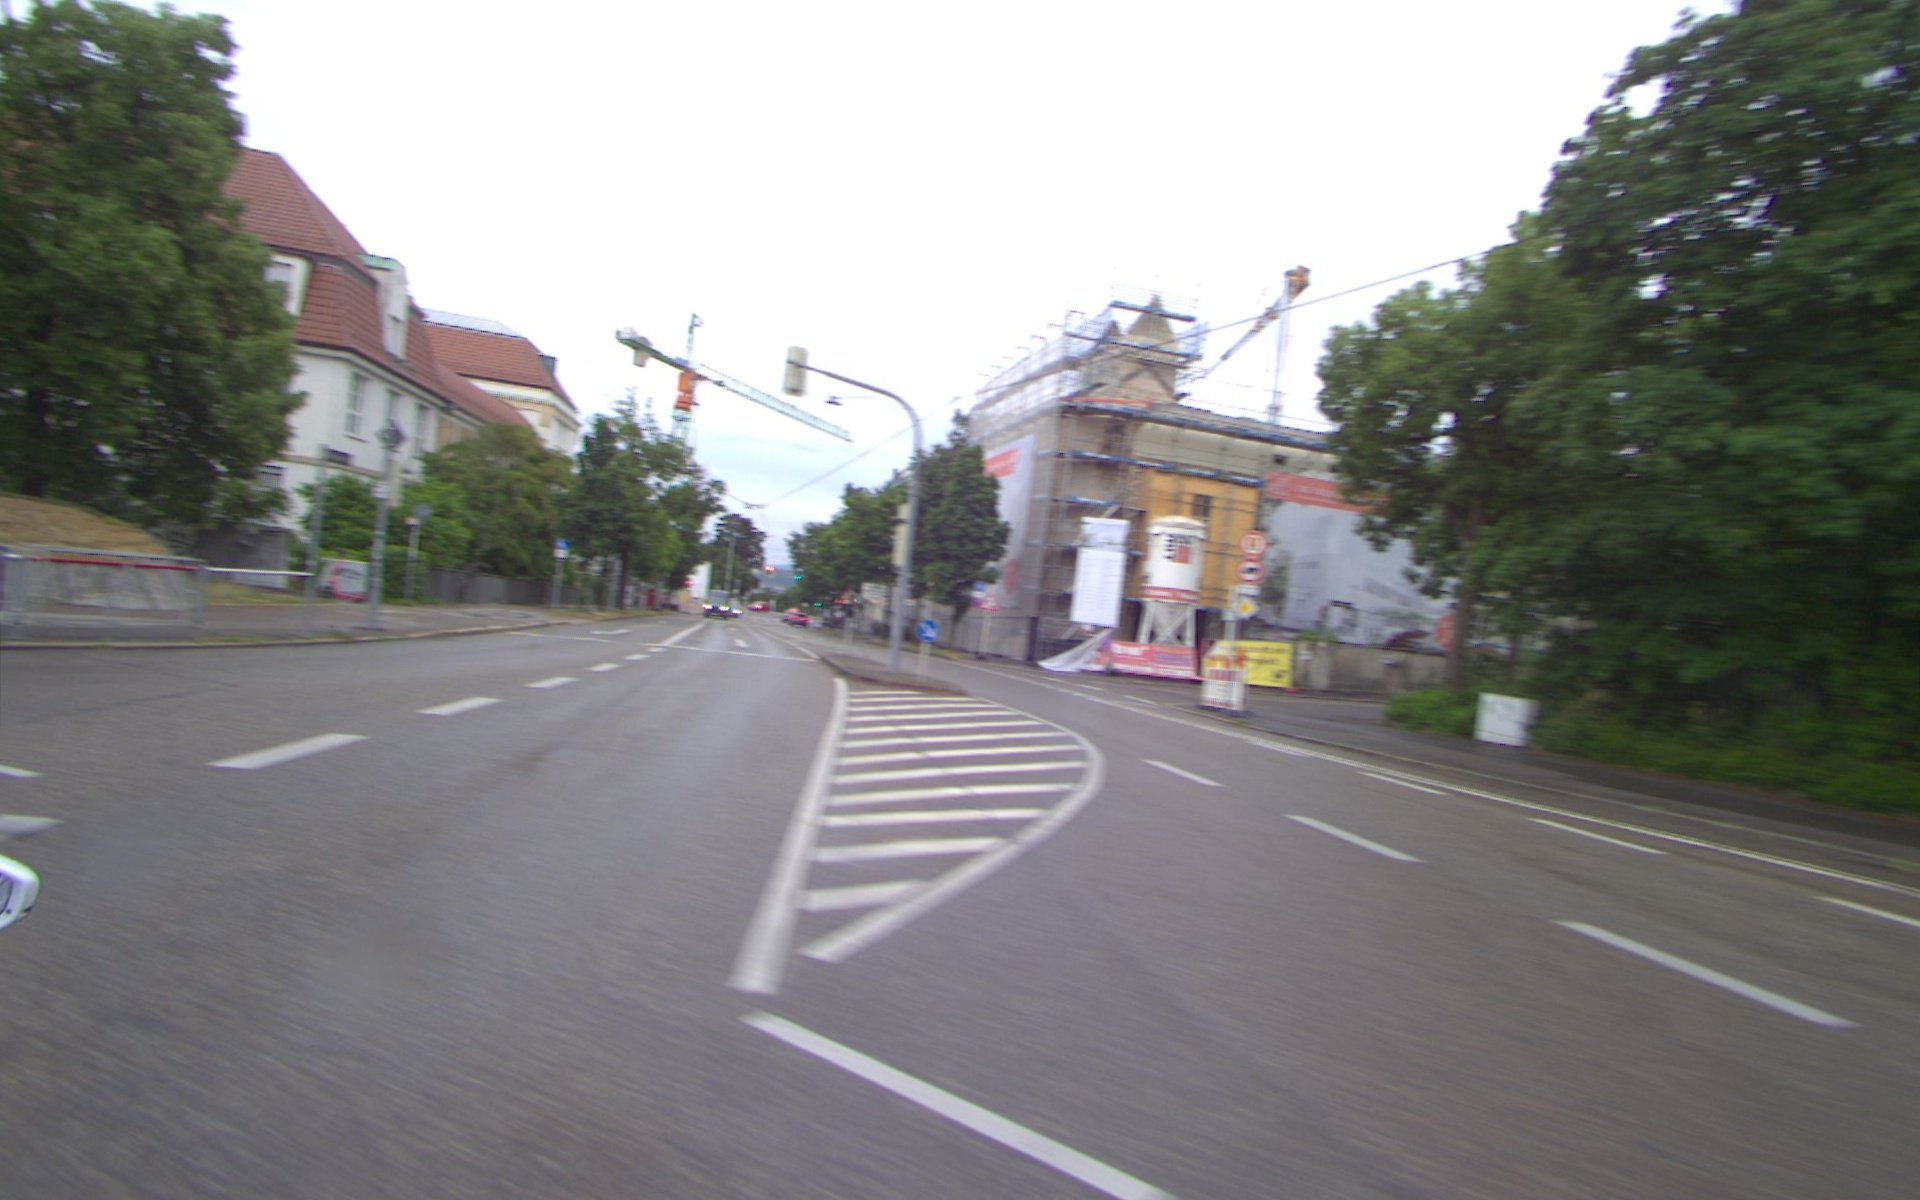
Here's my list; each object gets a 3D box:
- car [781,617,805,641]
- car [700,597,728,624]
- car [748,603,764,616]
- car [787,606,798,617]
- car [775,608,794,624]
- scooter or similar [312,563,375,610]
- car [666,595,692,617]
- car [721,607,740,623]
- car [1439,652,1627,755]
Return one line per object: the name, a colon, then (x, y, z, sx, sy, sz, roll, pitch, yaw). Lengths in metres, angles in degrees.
car: (-16.611, 2.859, 100.363, 1.966, 2.038, 3.995, 7, 0, -8)
car: (-22.526, 0.928, 92.202, 1.809, 2.238, 3.995, 7, 0, -8)
car: (-28.460, 1.281, 140.187, 1.751, 1.598, 3.866, 7, -1, -8)
car: (-34.933, 2.405, 209.562, 1.967, 2.038, 3.992, 8, -1, -11)
car: (-20.126, 1.829, 115.379, 1.751, 1.456, 3.866, 7, -1, -8)
scooter or similar: (-14.883, -0.313, 24.315, 0.529, 0.965, 1.090, 7, -2, 26)
car: (-29.620, 0.605, 106.127, 1.966, 2.038, 3.995, 7, 0, -8)
car: (-24.702, 1.563, 108.346, 1.554, 1.478, 3.532, 7, -1, -8)
car: (14.878, 2.621, 26.308, 3.932, 2.039, 1.996, 7, 0, 30)
